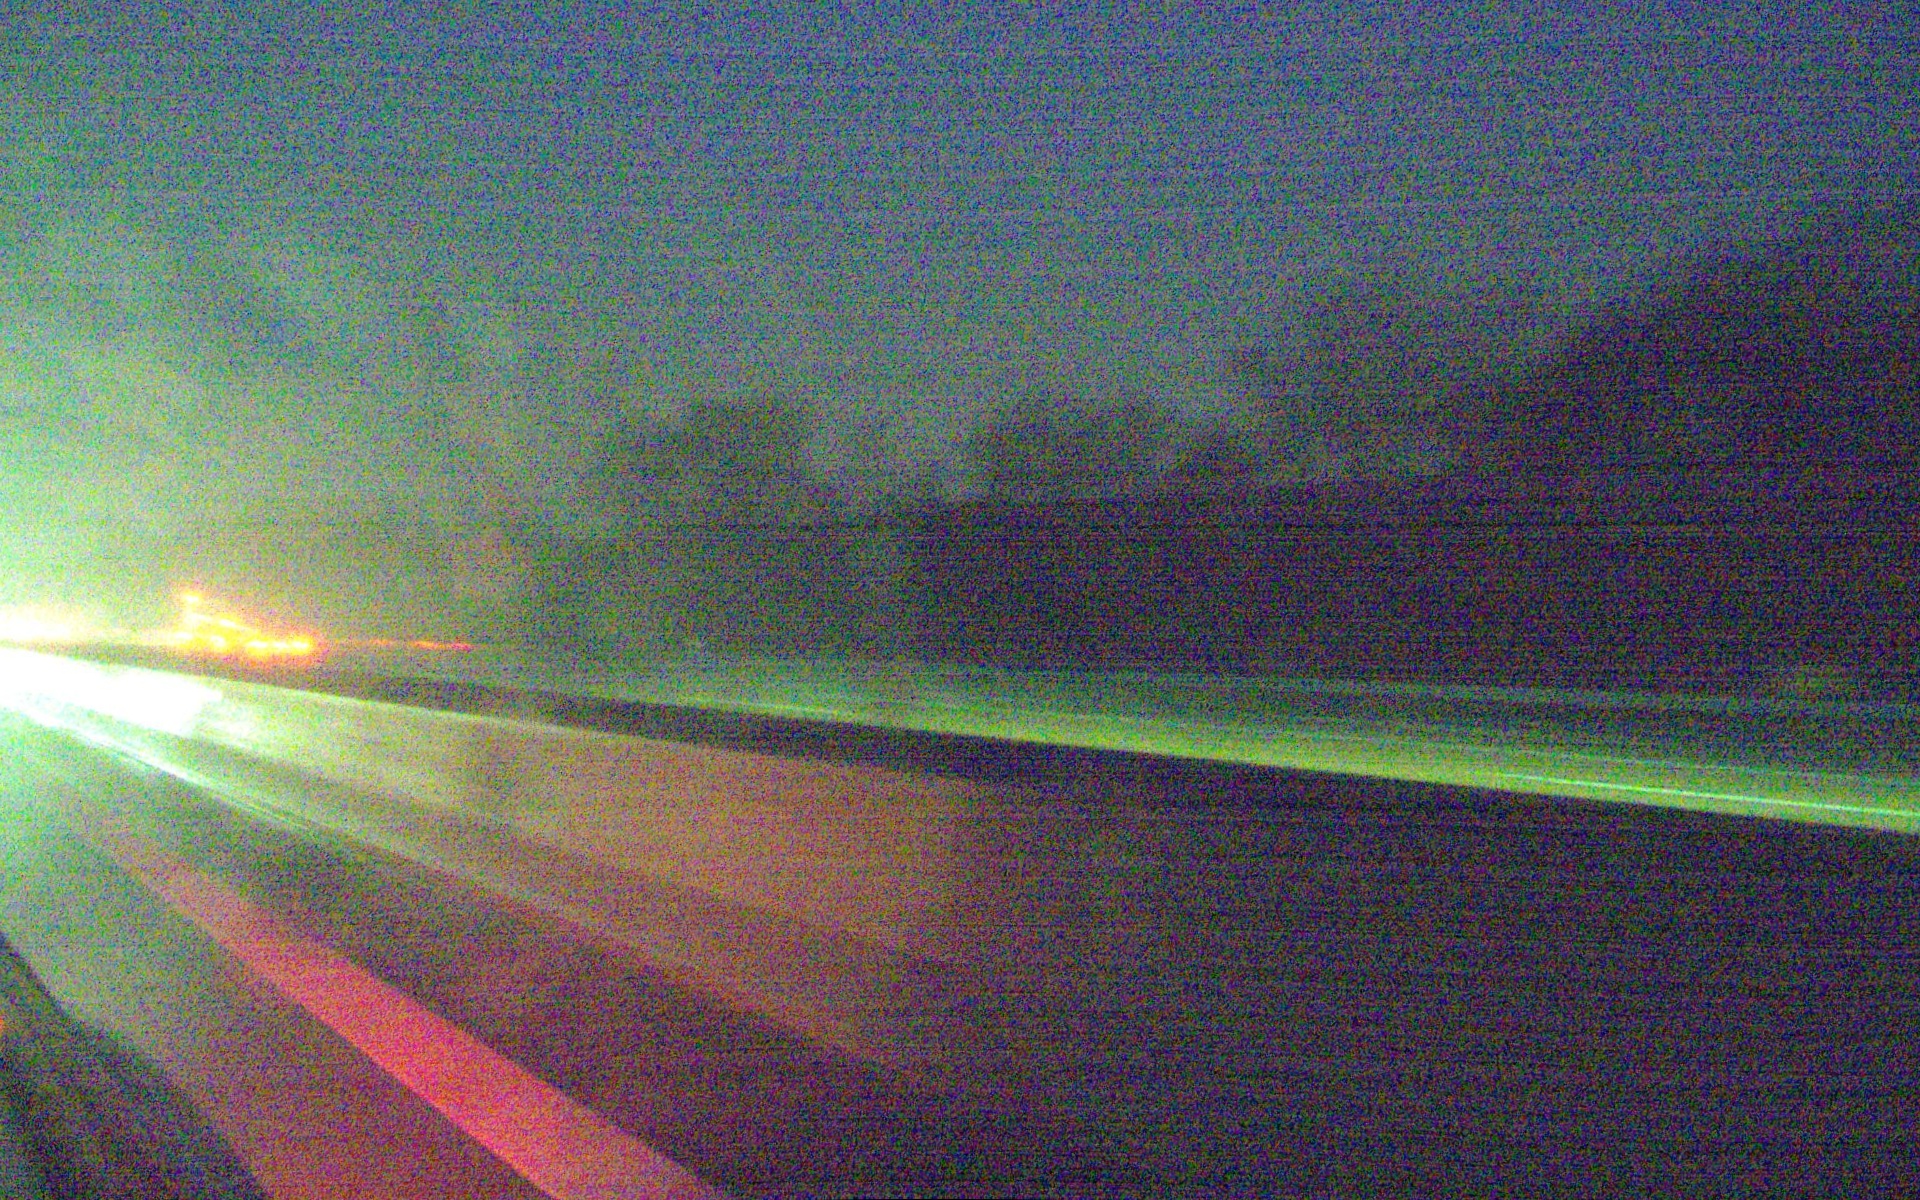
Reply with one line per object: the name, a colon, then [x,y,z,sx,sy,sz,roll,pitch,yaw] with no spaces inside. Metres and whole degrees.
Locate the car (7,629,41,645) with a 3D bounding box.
car: [-98.281,3.883,106.287,4.527,1.571,1.974,-2,-2,38]

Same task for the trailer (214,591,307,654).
trailer: [-46.417,1.516,67.049,8.697,3.930,2.827,-2,-2,40]

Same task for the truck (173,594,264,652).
truck: [-53.666,1.735,73.127,10.203,3.938,2.839,-2,-2,40]

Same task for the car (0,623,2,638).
car: [-130.554,4.097,136.245,5.360,2.029,1.971,-1,-2,43]

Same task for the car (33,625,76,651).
car: [-70.974,2.957,79.325,3.998,2.029,1.973,-2,-2,41]
